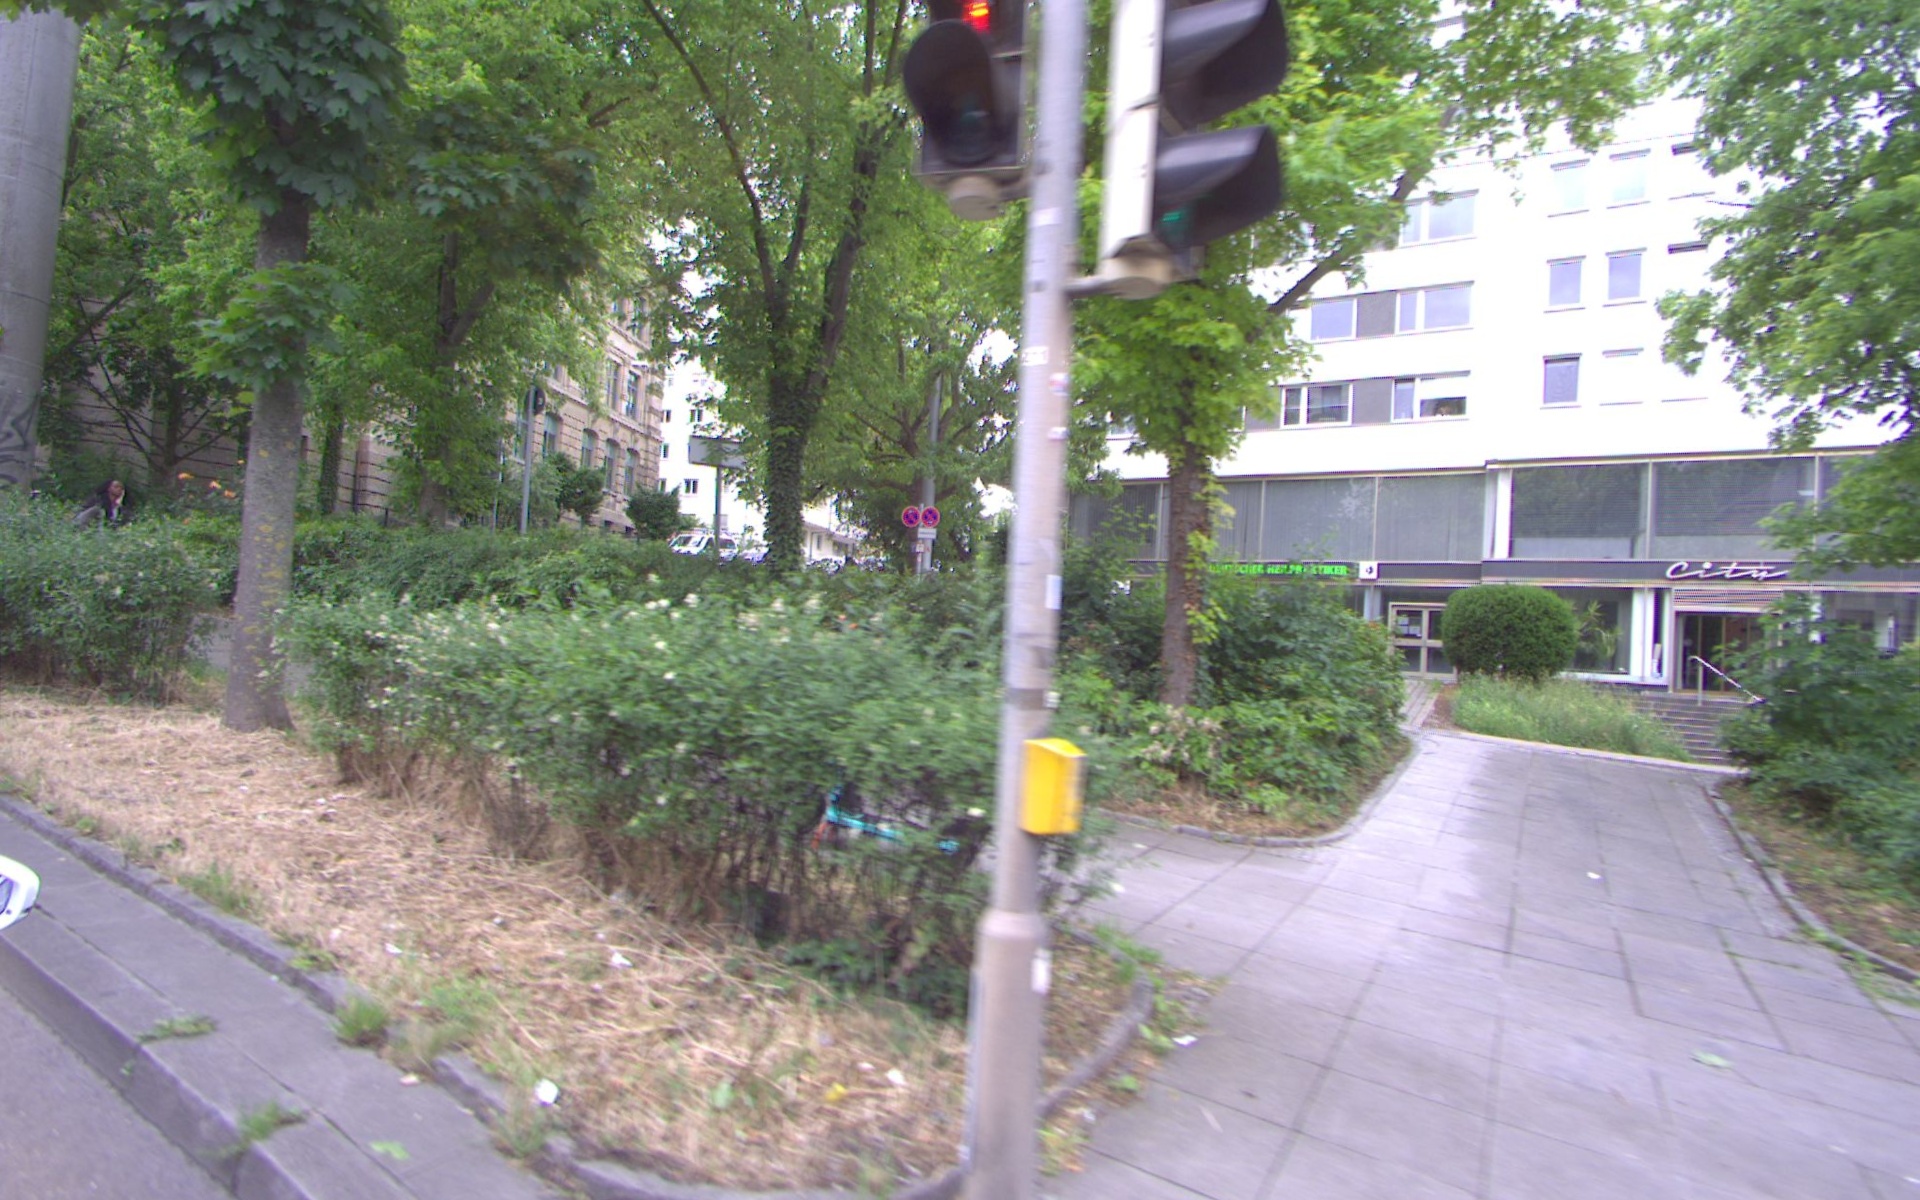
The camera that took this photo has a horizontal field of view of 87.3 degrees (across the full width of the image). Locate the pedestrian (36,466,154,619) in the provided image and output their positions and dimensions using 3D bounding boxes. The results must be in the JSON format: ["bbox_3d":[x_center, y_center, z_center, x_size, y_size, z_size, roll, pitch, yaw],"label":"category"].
[{"bbox_3d":[-10.493,-0.689,12.213,0.772,1.724,0.772,6,0,33],"label":"pedestrian"}]

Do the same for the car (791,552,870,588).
[{"bbox_3d":[-8.639,-1.990,67.324,4.796,1.756,2.001,6,0,8],"label":"car"}]

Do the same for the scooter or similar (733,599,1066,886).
[{"bbox_3d":[-0.313,0.698,5.348,1.528,1.225,0.632,6,0,20],"label":"scooter or similar"}]

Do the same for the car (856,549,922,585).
[{"bbox_3d":[-5.691,-2.656,81.099,4.796,2.246,2.001,6,0,8],"label":"car"}]

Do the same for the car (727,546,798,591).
[{"bbox_3d":[-10.355,-1.622,53.186,1.961,1.774,4.897,5,-3,10],"label":"car"}]

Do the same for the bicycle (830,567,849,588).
[{"bbox_3d":[-7.693,-1.425,64.362,0.597,1.057,2.069,7,-3,7],"label":"bicycle"}]

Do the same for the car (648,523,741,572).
[{"bbox_3d":[-12.268,-2.388,46.959,2.136,1.959,5.215,4,1,10],"label":"car"}]

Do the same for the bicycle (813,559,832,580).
[{"bbox_3d":[-8.817,-1.937,64.382,0.597,1.057,2.069,7,-3,7],"label":"bicycle"}]
